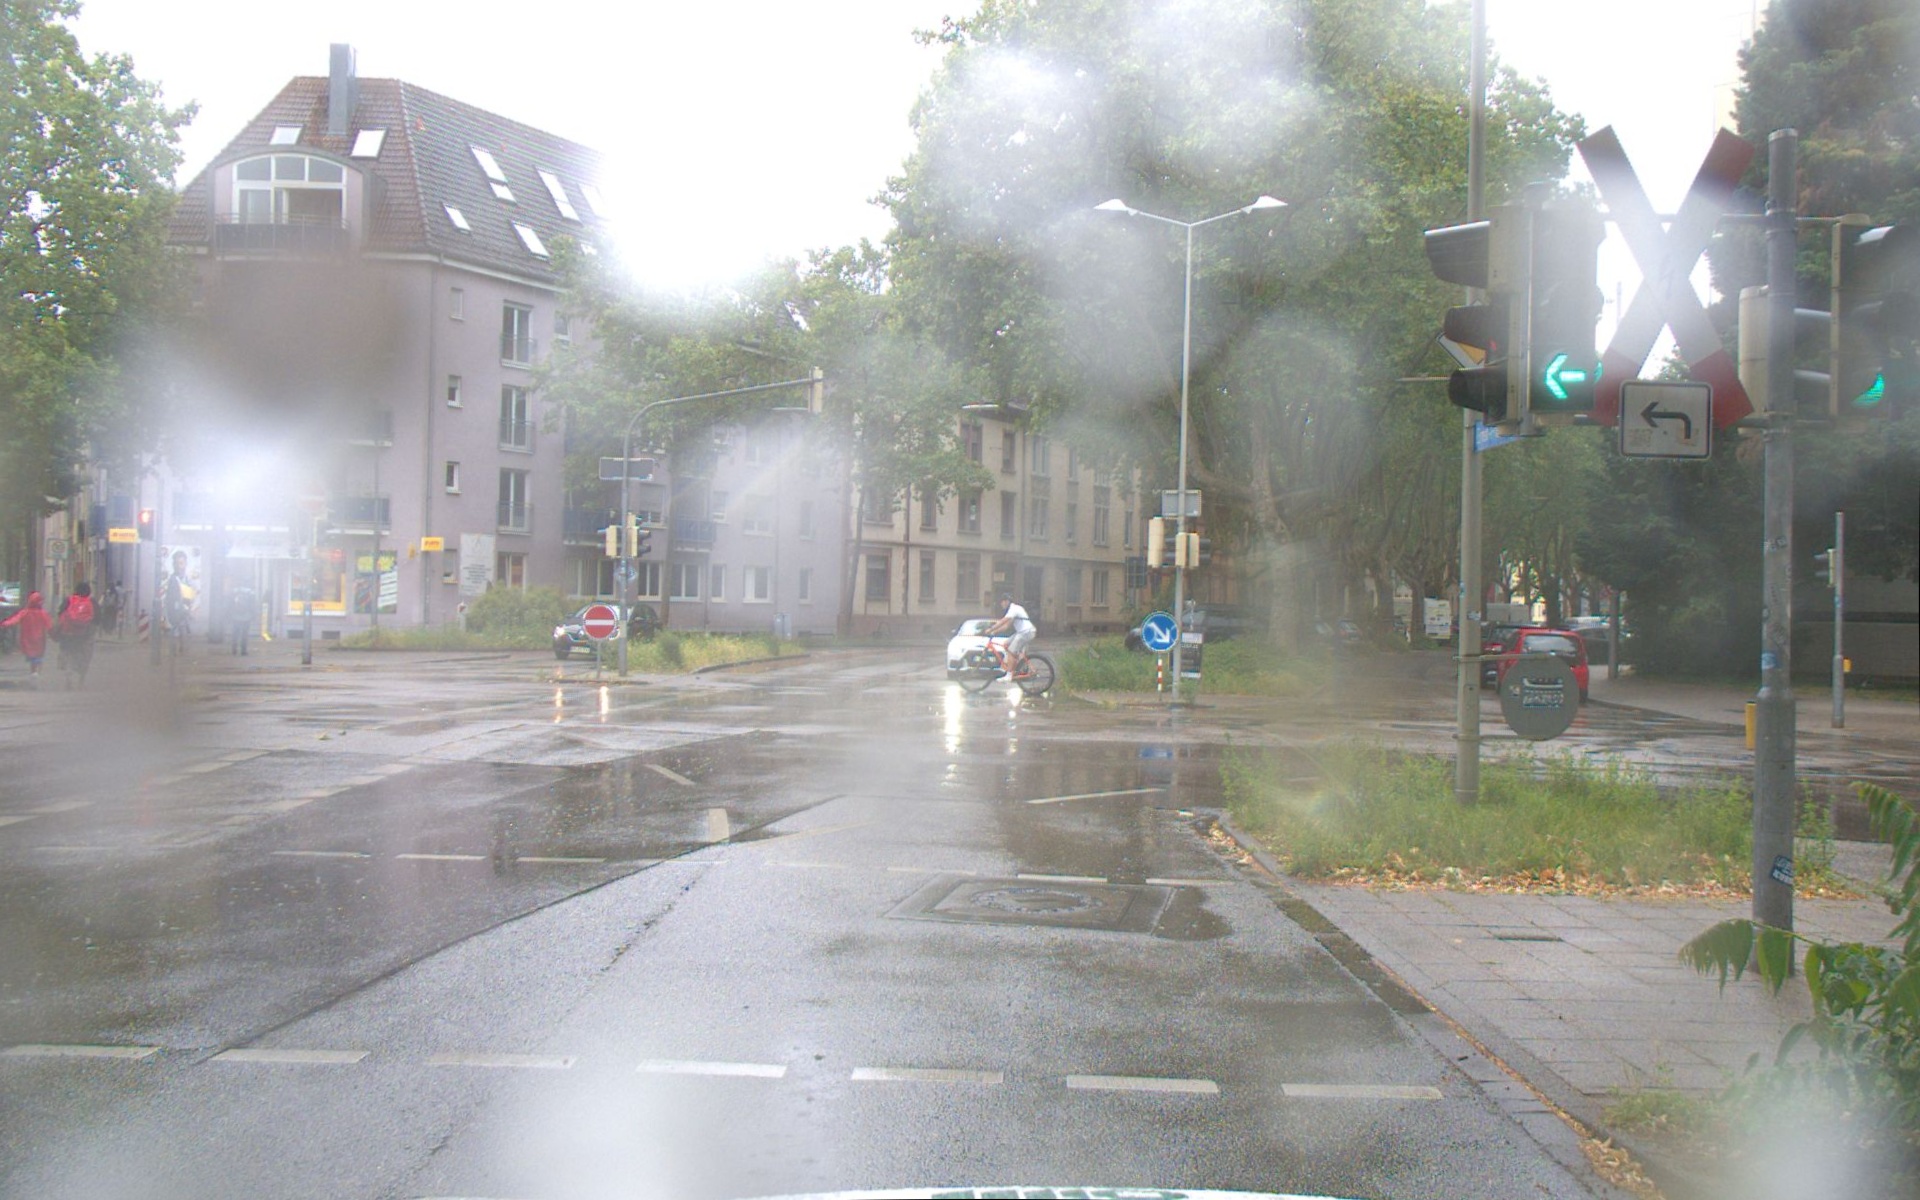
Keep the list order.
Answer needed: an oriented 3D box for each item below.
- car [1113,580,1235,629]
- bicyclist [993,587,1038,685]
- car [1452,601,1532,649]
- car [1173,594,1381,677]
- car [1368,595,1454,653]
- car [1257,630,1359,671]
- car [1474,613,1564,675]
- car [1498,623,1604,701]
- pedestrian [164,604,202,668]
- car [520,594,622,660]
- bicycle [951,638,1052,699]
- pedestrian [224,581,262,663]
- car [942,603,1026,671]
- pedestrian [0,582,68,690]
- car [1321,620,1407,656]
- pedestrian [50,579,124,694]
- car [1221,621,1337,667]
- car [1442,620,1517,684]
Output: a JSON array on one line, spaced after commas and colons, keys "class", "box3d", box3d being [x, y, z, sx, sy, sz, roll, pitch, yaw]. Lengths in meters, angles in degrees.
[{"class": "car", "box3d": [6.973, 0.138, 53.832, 3.784, 1.512, 1.717, 1, -1, 12]}, {"class": "bicyclist", "box3d": [1.052, 0.674, 31.195, 0.778, 1.817, 0.697, 1, -1, 7]}, {"class": "car", "box3d": [33.647, 1.555, 104.752, 1.974, 3.000, 4.720, 1, -1, -31]}, {"class": "car", "box3d": [6.266, 0.682, 32.708, 3.902, 1.512, 2.002, 1, -1, 12]}, {"class": "car", "box3d": [23.933, 1.244, 88.009, 2.005, 3.000, 4.742, 1, -1, -21]}, {"class": "car", "box3d": [13.775, 1.974, 65.507, 3.902, 1.512, 2.002, 1, -1, 12]}, {"class": "car", "box3d": [13.882, 1.060, 41.246, 1.745, 1.371, 3.932, 1, 1, 13]}, {"class": "car", "box3d": [13.037, 1.325, 36.674, 1.754, 1.524, 4.003, 1, 0, 13]}, {"class": "pedestrian", "box3d": [-17.688, 0.818, 37.642, 0.643, 1.420, 0.773, 1, 0, -35]}, {"class": "car", "box3d": [-9.641, 0.640, 41.283, 1.716, 1.538, 3.837, 1, 0, -2]}, {"class": "bicycle", "box3d": [0.798, 1.288, 31.233, 1.833, 1.100, 0.657, 1, -1, 7]}, {"class": "pedestrian", "box3d": [-16.594, 0.508, 38.285, 0.777, 1.888, 0.676, 1, 0, -25]}, {"class": "car", "box3d": [0.577, 0.836, 39.079, 1.845, 1.461, 4.001, 1, 0, 1]}, {"class": "pedestrian", "box3d": [-13.566, 0.519, 24.234, 0.669, 1.546, 0.658, 1, 0, -9]}, {"class": "car", "box3d": [19.242, 1.797, 78.863, 3.902, 1.574, 2.002, 1, -1, 12]}, {"class": "pedestrian", "box3d": [-12.869, 0.527, 24.407, 0.715, 1.653, 0.816, 0, 1, -8]}, {"class": "car", "box3d": [11.166, 1.507, 57.897, 3.902, 1.512, 2.002, 1, -1, 12]}, {"class": "car", "box3d": [14.973, 1.467, 47.847, 1.745, 1.757, 4.003, 1, -1, 13]}]
